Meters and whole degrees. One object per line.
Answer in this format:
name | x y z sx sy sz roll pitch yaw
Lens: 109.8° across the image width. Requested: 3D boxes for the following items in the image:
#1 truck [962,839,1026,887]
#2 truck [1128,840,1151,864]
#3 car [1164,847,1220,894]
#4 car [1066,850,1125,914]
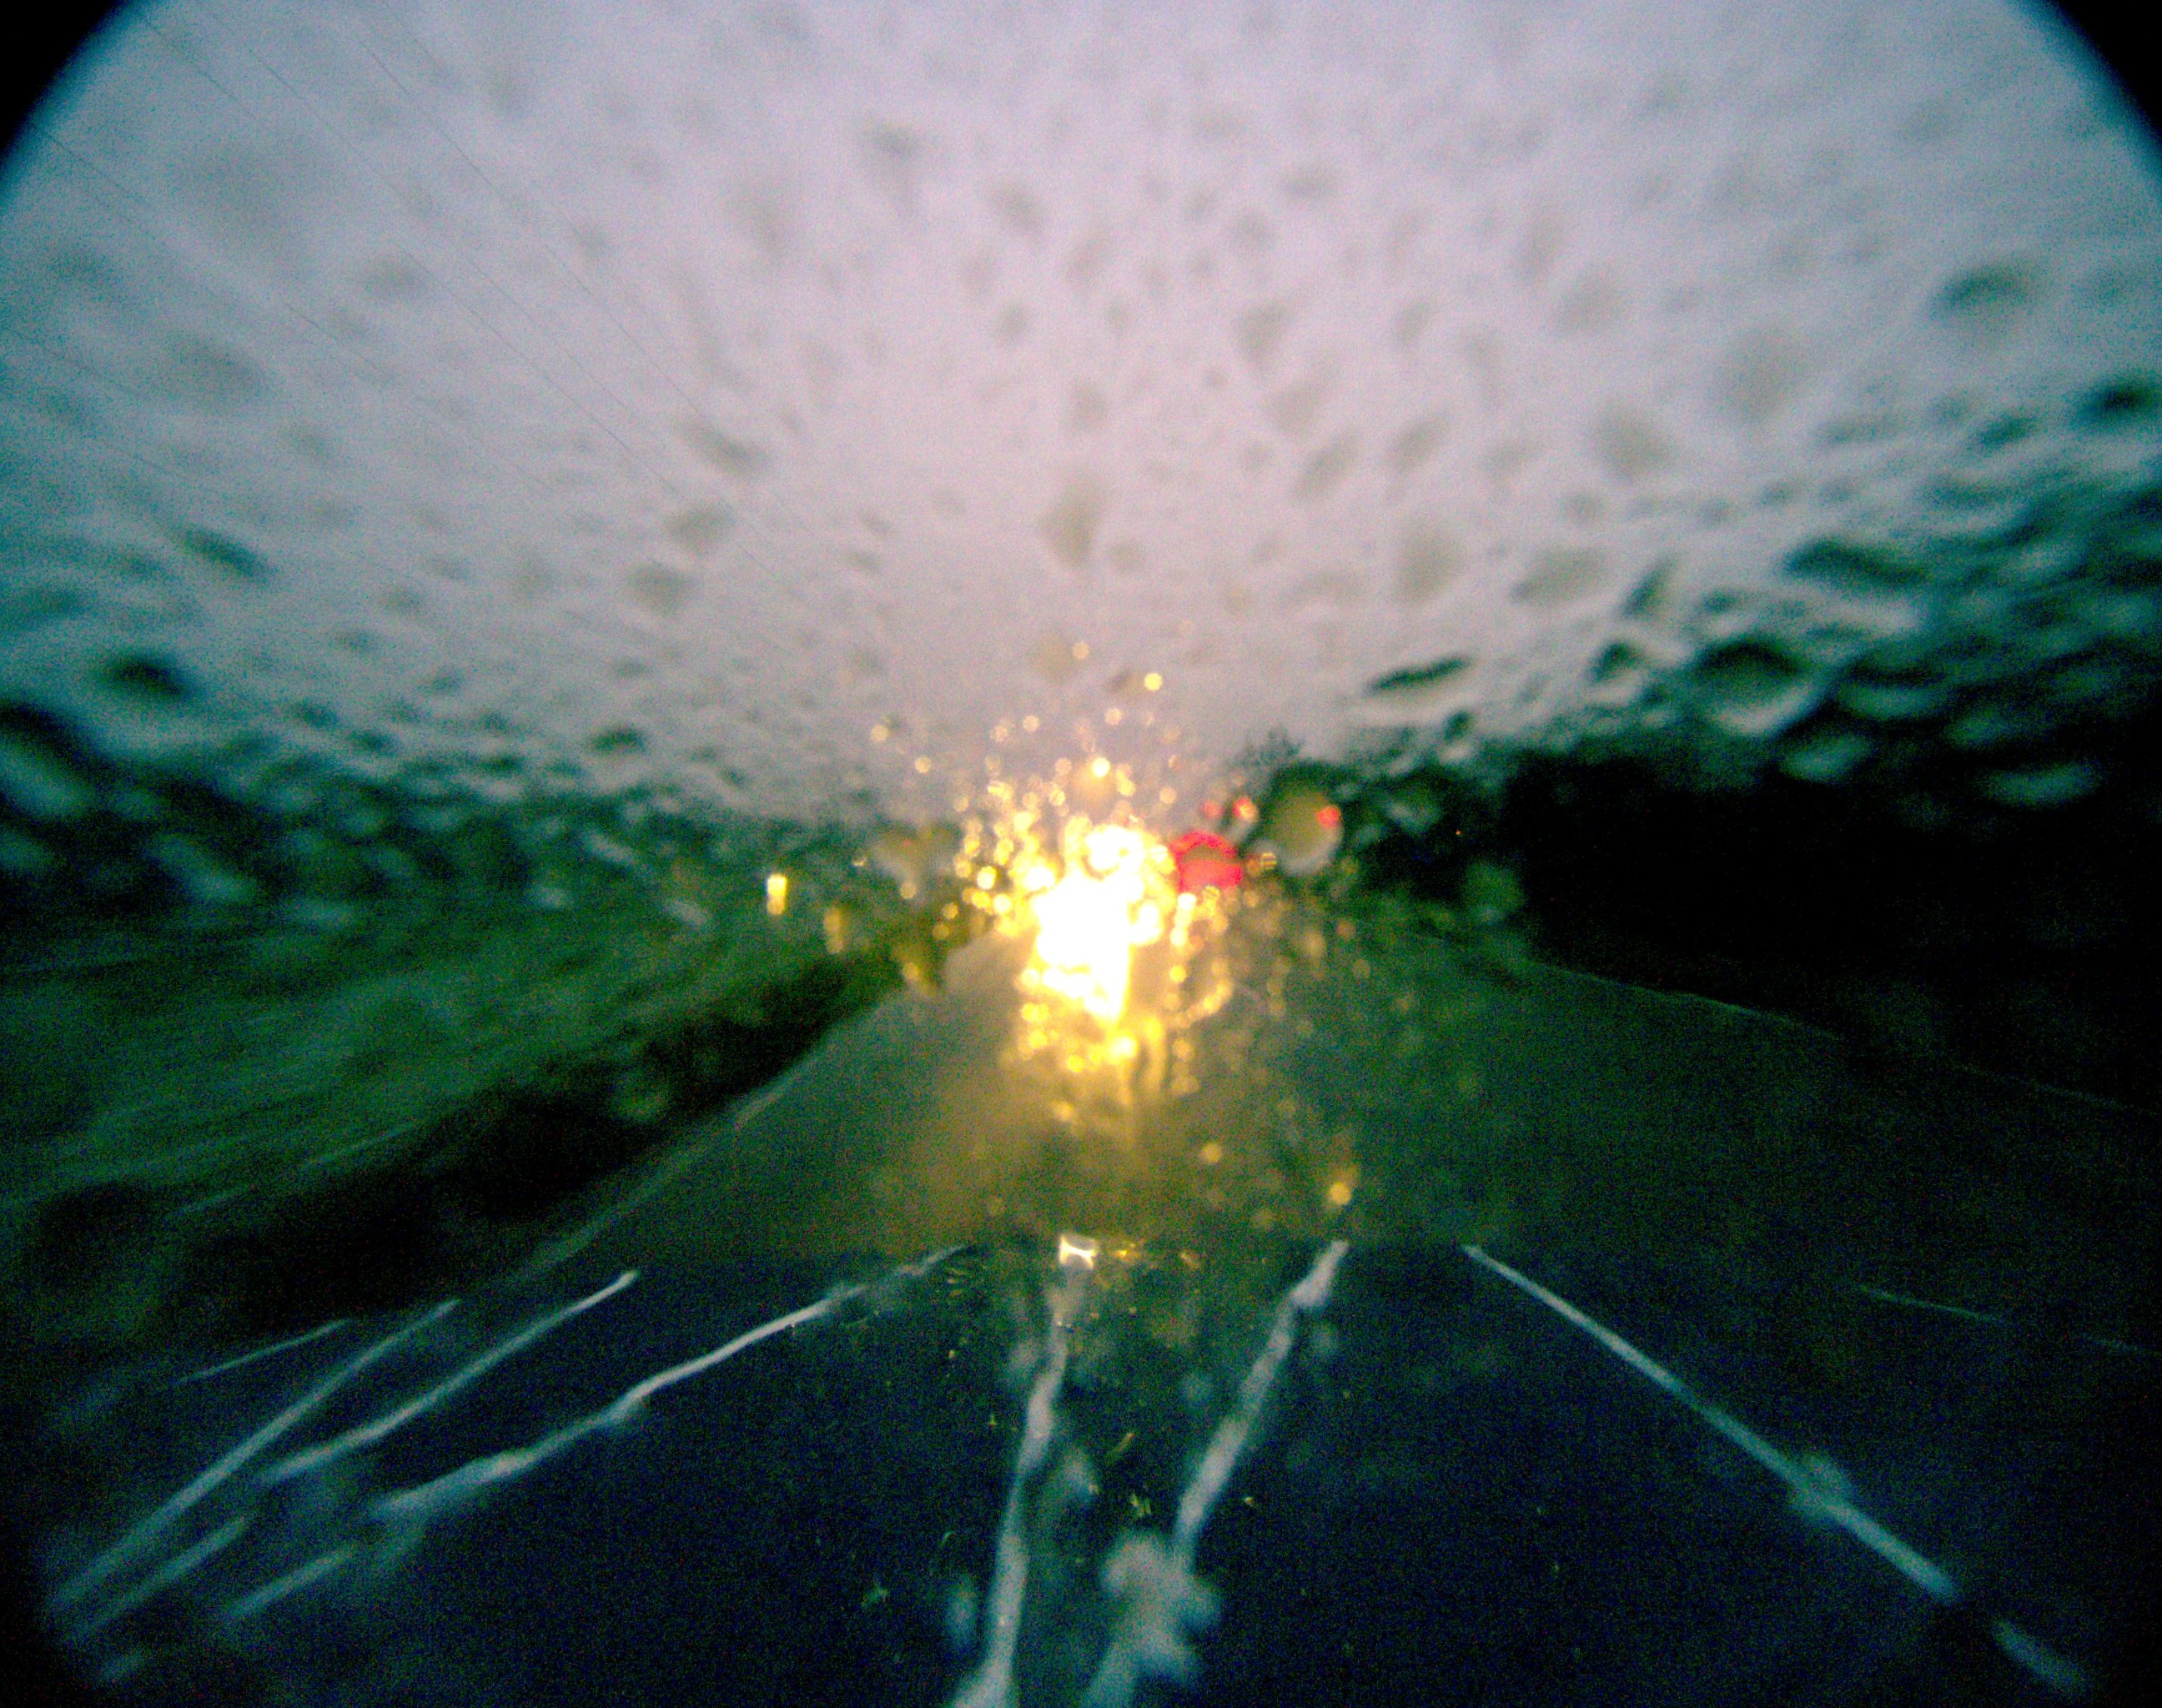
truck | -5.201 0.479 47.488 2.510 2.556 10.805 -2 0 1
truck | 6.420 -0.217 83.743 2.244 2.453 5.374 -2 0 2
car | 4.446 0.622 30.930 1.790 1.740 4.258 -1 0 2
car | 0.572 0.919 27.014 1.856 2.002 4.000 -2 0 3
